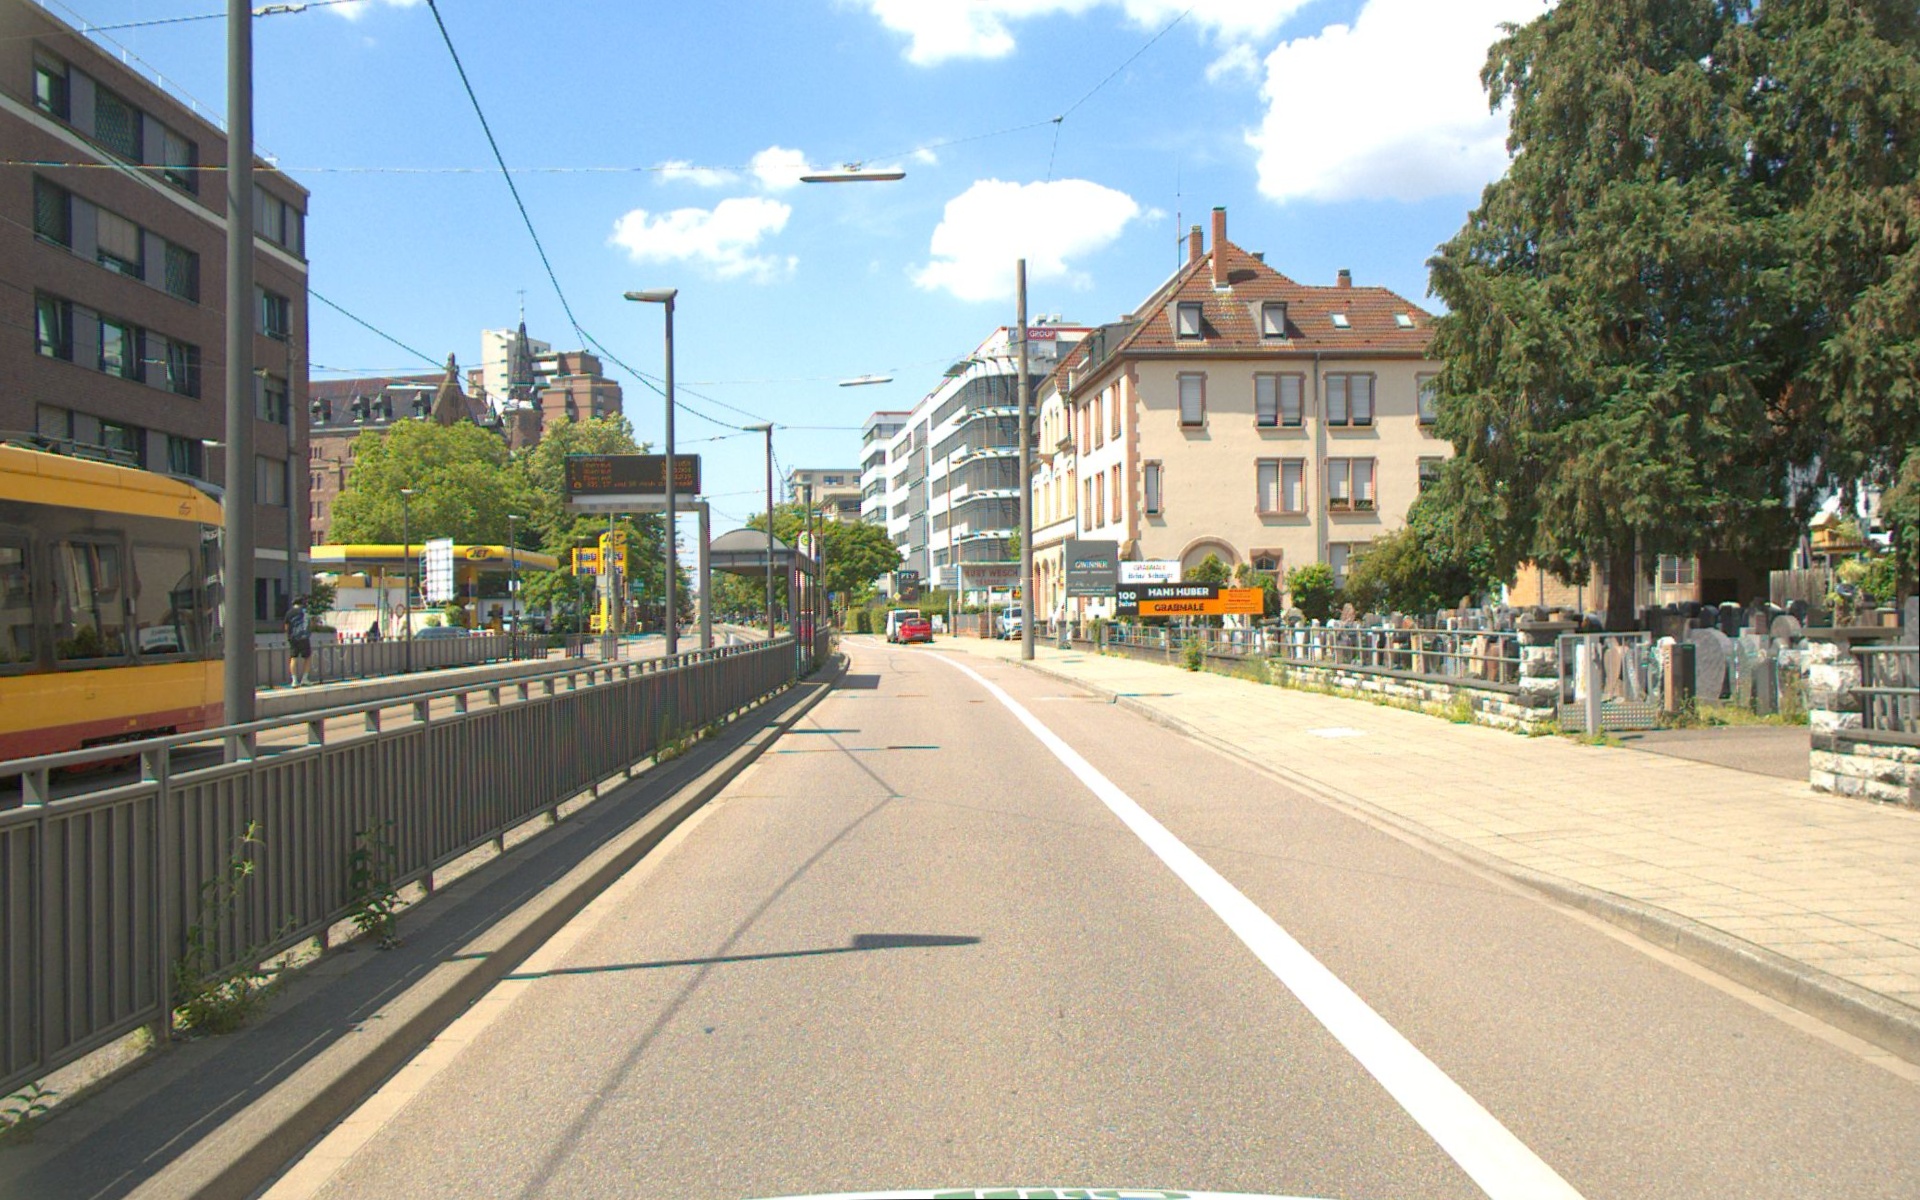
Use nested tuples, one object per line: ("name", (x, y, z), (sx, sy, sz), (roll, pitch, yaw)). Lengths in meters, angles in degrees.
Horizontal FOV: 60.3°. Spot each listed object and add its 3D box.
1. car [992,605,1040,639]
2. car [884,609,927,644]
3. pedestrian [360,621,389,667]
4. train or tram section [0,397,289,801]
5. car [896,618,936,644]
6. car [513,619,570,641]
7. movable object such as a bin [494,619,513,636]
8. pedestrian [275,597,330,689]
("car", (2.903, 1.146, 86.674), (1.842, 1.652, 4.633), (-4, 0, -6))
("car", (-3.414, 1.634, 102.667), (1.957, 2.026, 5.503), (-3, 0, -9))
("pedestrian", (-21.476, 1.606, 60.676), (0.745, 1.624, 0.998), (3, -1, -6))
("train or tram section", (-10.179, 0.000, 13.387), (3.169, 3.630, 16.343), (-1, -1, -1))
("car", (-2.580, 1.784, 96.051), (1.956, 1.467, 4.010), (-1, -1, -7))
("car", (-33.808, 2.397, 133.693), (1.959, 1.618, 4.319), (-2, -1, 35))
("movable object such as a bin", (-36.945, 2.222, 133.925), (1.316, 1.378, 0.758), (-1, -1, 3))
("pedestrian", (-13.179, 0.856, 33.178), (0.671, 1.791, 1.033), (-2, -1, -3))
